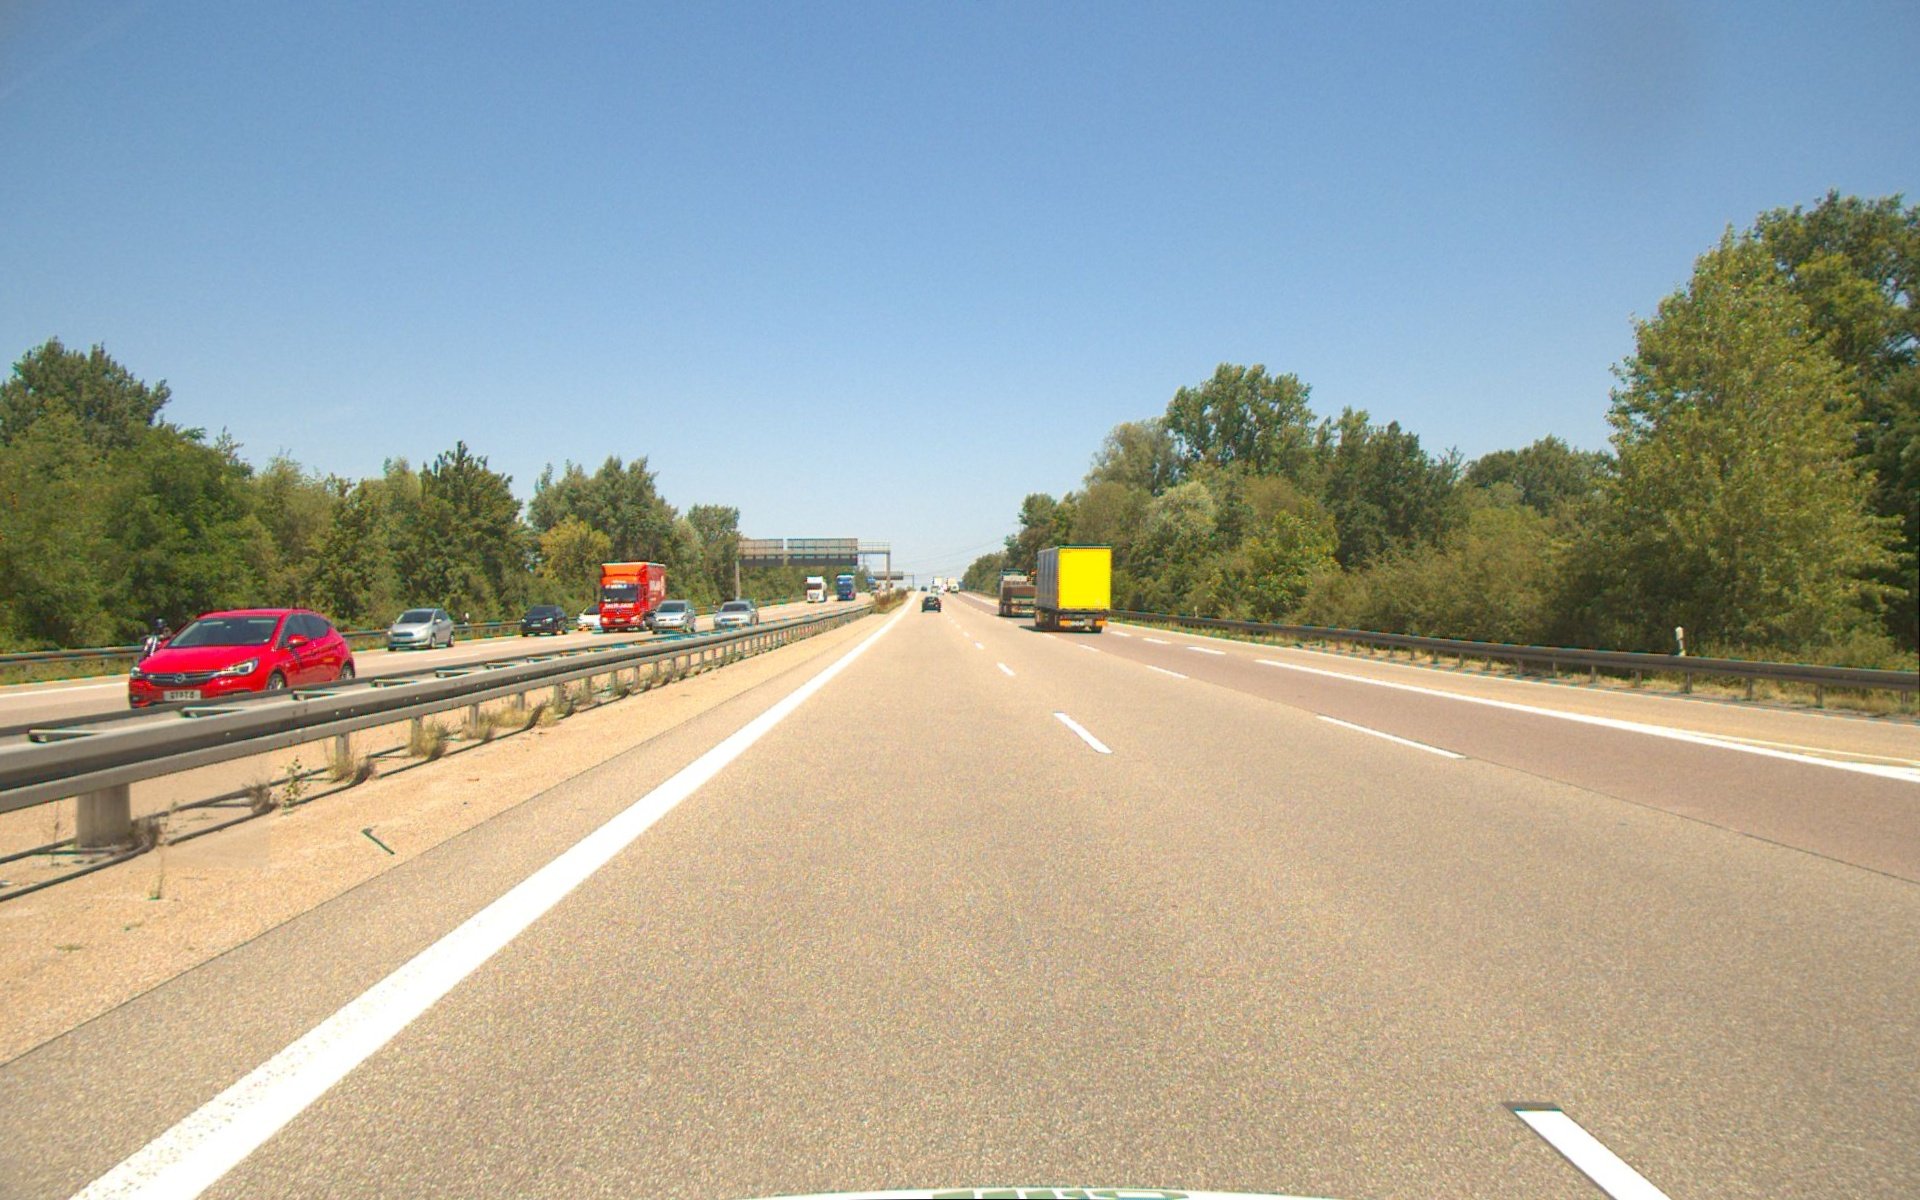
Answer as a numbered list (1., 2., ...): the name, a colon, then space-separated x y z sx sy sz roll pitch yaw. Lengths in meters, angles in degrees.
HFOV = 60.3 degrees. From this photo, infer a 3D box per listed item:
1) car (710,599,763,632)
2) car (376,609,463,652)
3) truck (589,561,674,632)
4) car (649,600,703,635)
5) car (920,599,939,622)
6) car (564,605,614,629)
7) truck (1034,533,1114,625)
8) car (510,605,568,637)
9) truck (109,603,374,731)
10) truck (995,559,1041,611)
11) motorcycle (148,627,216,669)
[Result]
1. car: -11.131 0.772 82.762 1.953 1.579 5.223 0 0 0
2. car: -21.696 1.191 66.613 1.953 1.536 4.720 -2 0 -1
3. truck: -18.474 -0.186 93.572 3.002 3.792 9.803 0 0 -1
4. car: -14.330 0.864 83.624 1.953 1.654 4.543 -2 0 0
5. car: -2.805 0.947 153.626 1.755 2.049 3.886 1 0 -1
6. car: -22.690 1.018 101.244 1.953 1.437 4.972 0 0 -1
7. truck: 5.786 -0.983 87.017 2.787 4.332 16.788 0 0 -1
8. car: -22.851 1.131 89.962 1.952 1.606 4.268 2 0 1
9. truck: -9.799 0.843 22.960 1.793 1.590 4.309 0 0 0
10. truck: 4.677 -1.134 136.639 2.909 4.026 16.609 1 0 -1
11. motorcycle: -22.557 1.383 47.988 0.763 1.131 2.395 0 0 2
